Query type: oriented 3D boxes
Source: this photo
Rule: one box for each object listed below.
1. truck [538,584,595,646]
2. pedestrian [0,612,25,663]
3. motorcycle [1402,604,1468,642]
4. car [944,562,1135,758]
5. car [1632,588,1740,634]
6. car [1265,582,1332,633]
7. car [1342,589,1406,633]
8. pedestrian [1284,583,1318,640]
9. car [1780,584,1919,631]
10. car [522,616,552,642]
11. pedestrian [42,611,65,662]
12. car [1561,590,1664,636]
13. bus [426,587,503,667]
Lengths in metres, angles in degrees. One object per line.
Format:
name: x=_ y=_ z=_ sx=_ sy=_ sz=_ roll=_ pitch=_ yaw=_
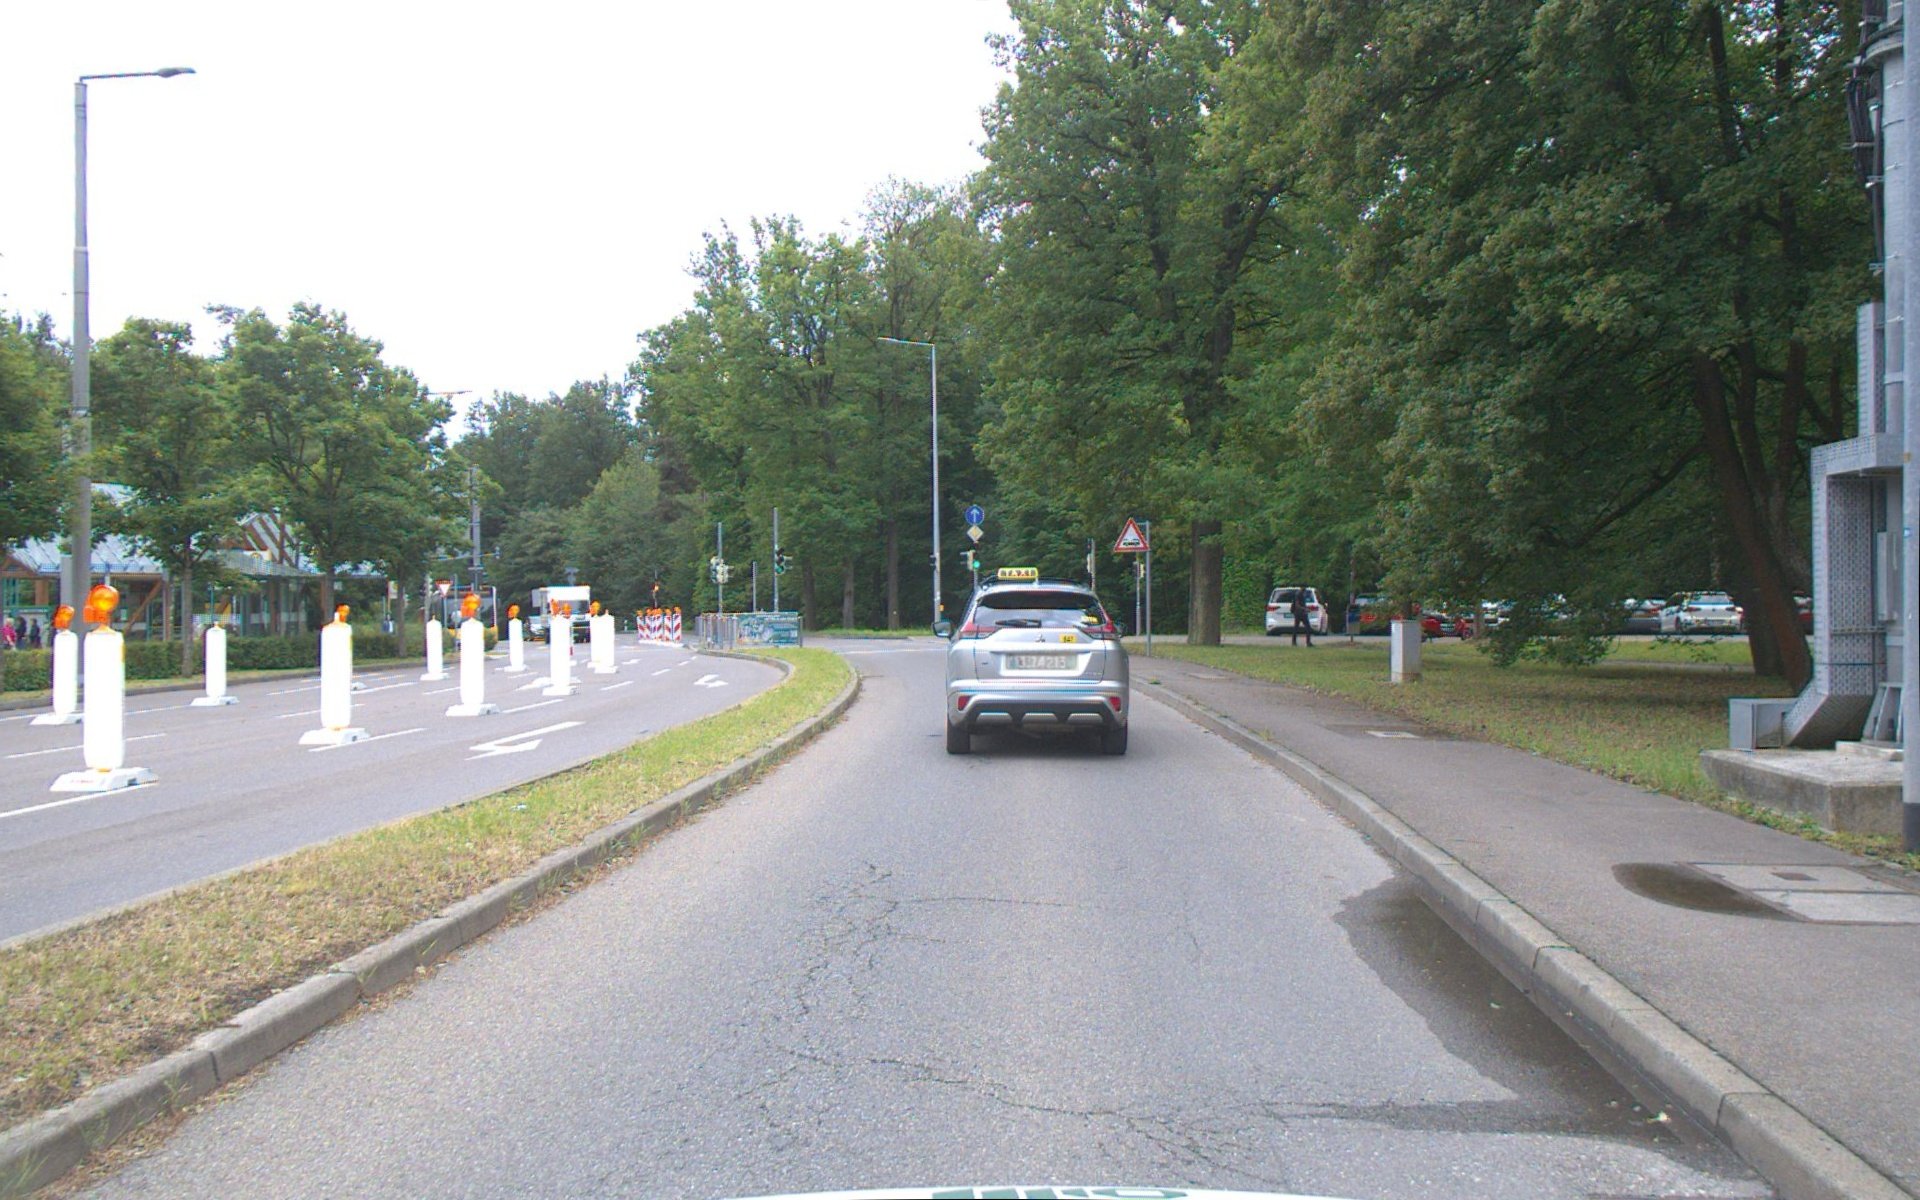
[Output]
truck: x=-22.645 y=0.849 z=94.974 sx=2.445 sy=3.344 sz=8.475 roll=-1 pitch=0 yaw=-18
pedestrian: x=-30.755 y=1.210 z=53.684 sx=0.550 sy=1.654 sz=0.490 roll=0 pitch=0 yaw=36
motorcycle: x=13.628 y=0.651 z=47.495 sx=1.788 sy=1.075 sz=0.615 roll=-1 pitch=0 yaw=11
car: x=0.872 y=0.582 z=16.971 sx=1.736 sy=1.779 sz=3.782 roll=0 pitch=-1 yaw=5
car: x=22.745 y=0.331 z=51.958 sx=1.525 sy=1.349 sz=3.823 roll=-1 pitch=0 yaw=-4
car: x=11.011 y=0.217 z=53.642 sx=1.795 sy=1.563 sz=4.003 roll=-1 pitch=0 yaw=17
car: x=13.304 y=0.337 z=53.013 sx=1.795 sy=1.349 sz=4.003 roll=-1 pitch=0 yaw=17
pedestrian: x=9.323 y=0.322 z=45.197 sx=0.823 sy=1.532 sz=0.791 roll=-1 pitch=0 yaw=16
car: x=27.308 y=0.218 z=50.547 sx=3.738 sy=1.349 sz=1.560 roll=-1 pitch=0 yaw=-4
car: x=-27.149 y=1.825 z=106.090 sx=1.533 sy=1.555 sz=3.804 roll=-1 pitch=0 yaw=-20
pedestrian: x=-29.987 y=1.208 z=54.710 sx=0.550 sy=1.654 sz=0.490 roll=0 pitch=0 yaw=36
car: x=20.555 y=0.389 z=52.246 sx=1.525 sy=1.349 sz=3.823 roll=-1 pitch=0 yaw=-4
bus: x=-25.134 y=1.262 z=83.431 sx=2.781 sy=3.666 sz=12.723 roll=-1 pitch=0 yaw=-21
